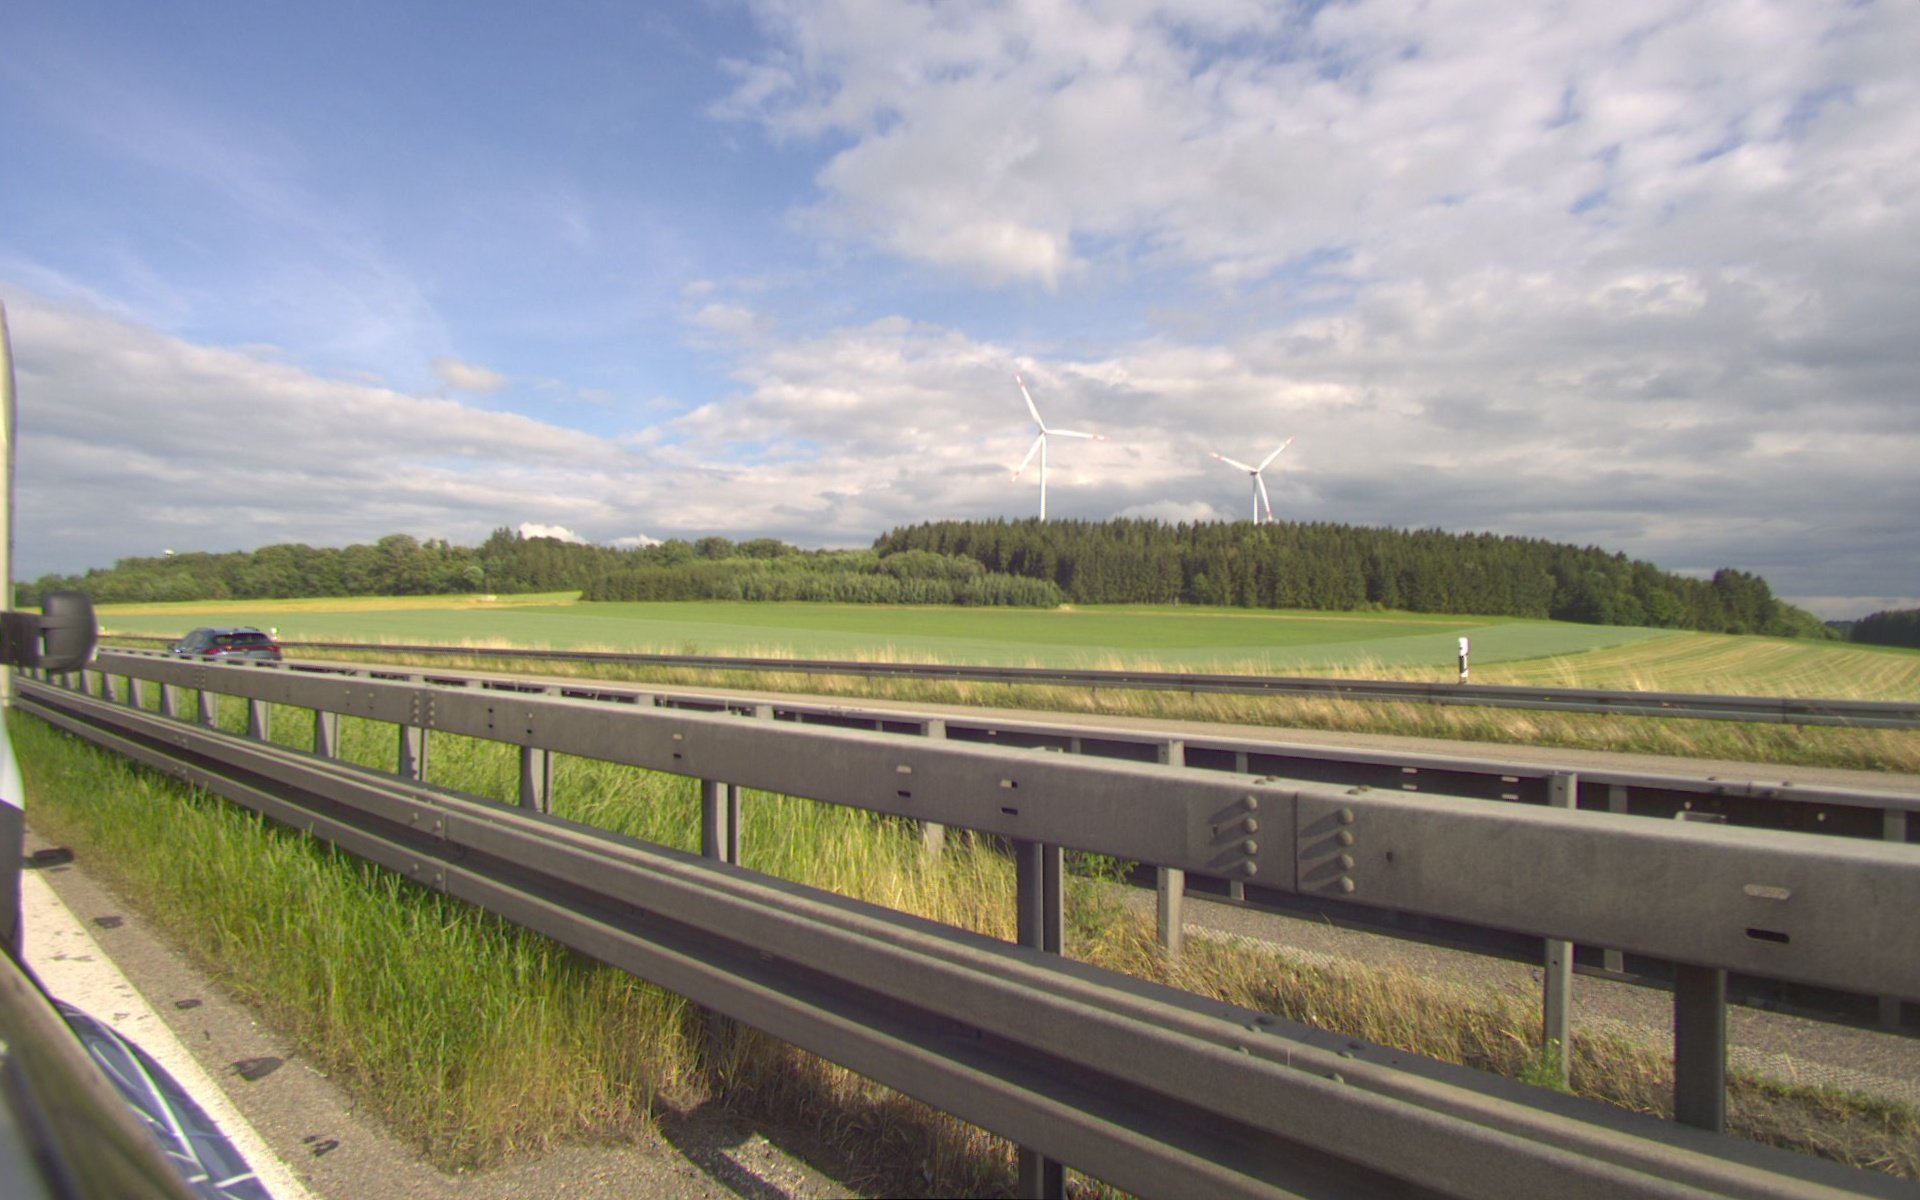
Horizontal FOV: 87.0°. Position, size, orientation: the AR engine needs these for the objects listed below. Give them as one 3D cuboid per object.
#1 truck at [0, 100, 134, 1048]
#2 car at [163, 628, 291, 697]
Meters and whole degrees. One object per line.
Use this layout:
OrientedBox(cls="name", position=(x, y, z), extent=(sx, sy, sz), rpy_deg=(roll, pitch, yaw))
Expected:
OrientedBox(cls="truck", position=(-8.029, 0.023, 6.334), extent=(11.155, 3.183, 2.470), rpy_deg=(-2, -2, 40))
OrientedBox(cls="car", position=(-18.109, 1.465, 24.949), extent=(3.998, 1.496, 1.714), rpy_deg=(-1, -1, 41))
